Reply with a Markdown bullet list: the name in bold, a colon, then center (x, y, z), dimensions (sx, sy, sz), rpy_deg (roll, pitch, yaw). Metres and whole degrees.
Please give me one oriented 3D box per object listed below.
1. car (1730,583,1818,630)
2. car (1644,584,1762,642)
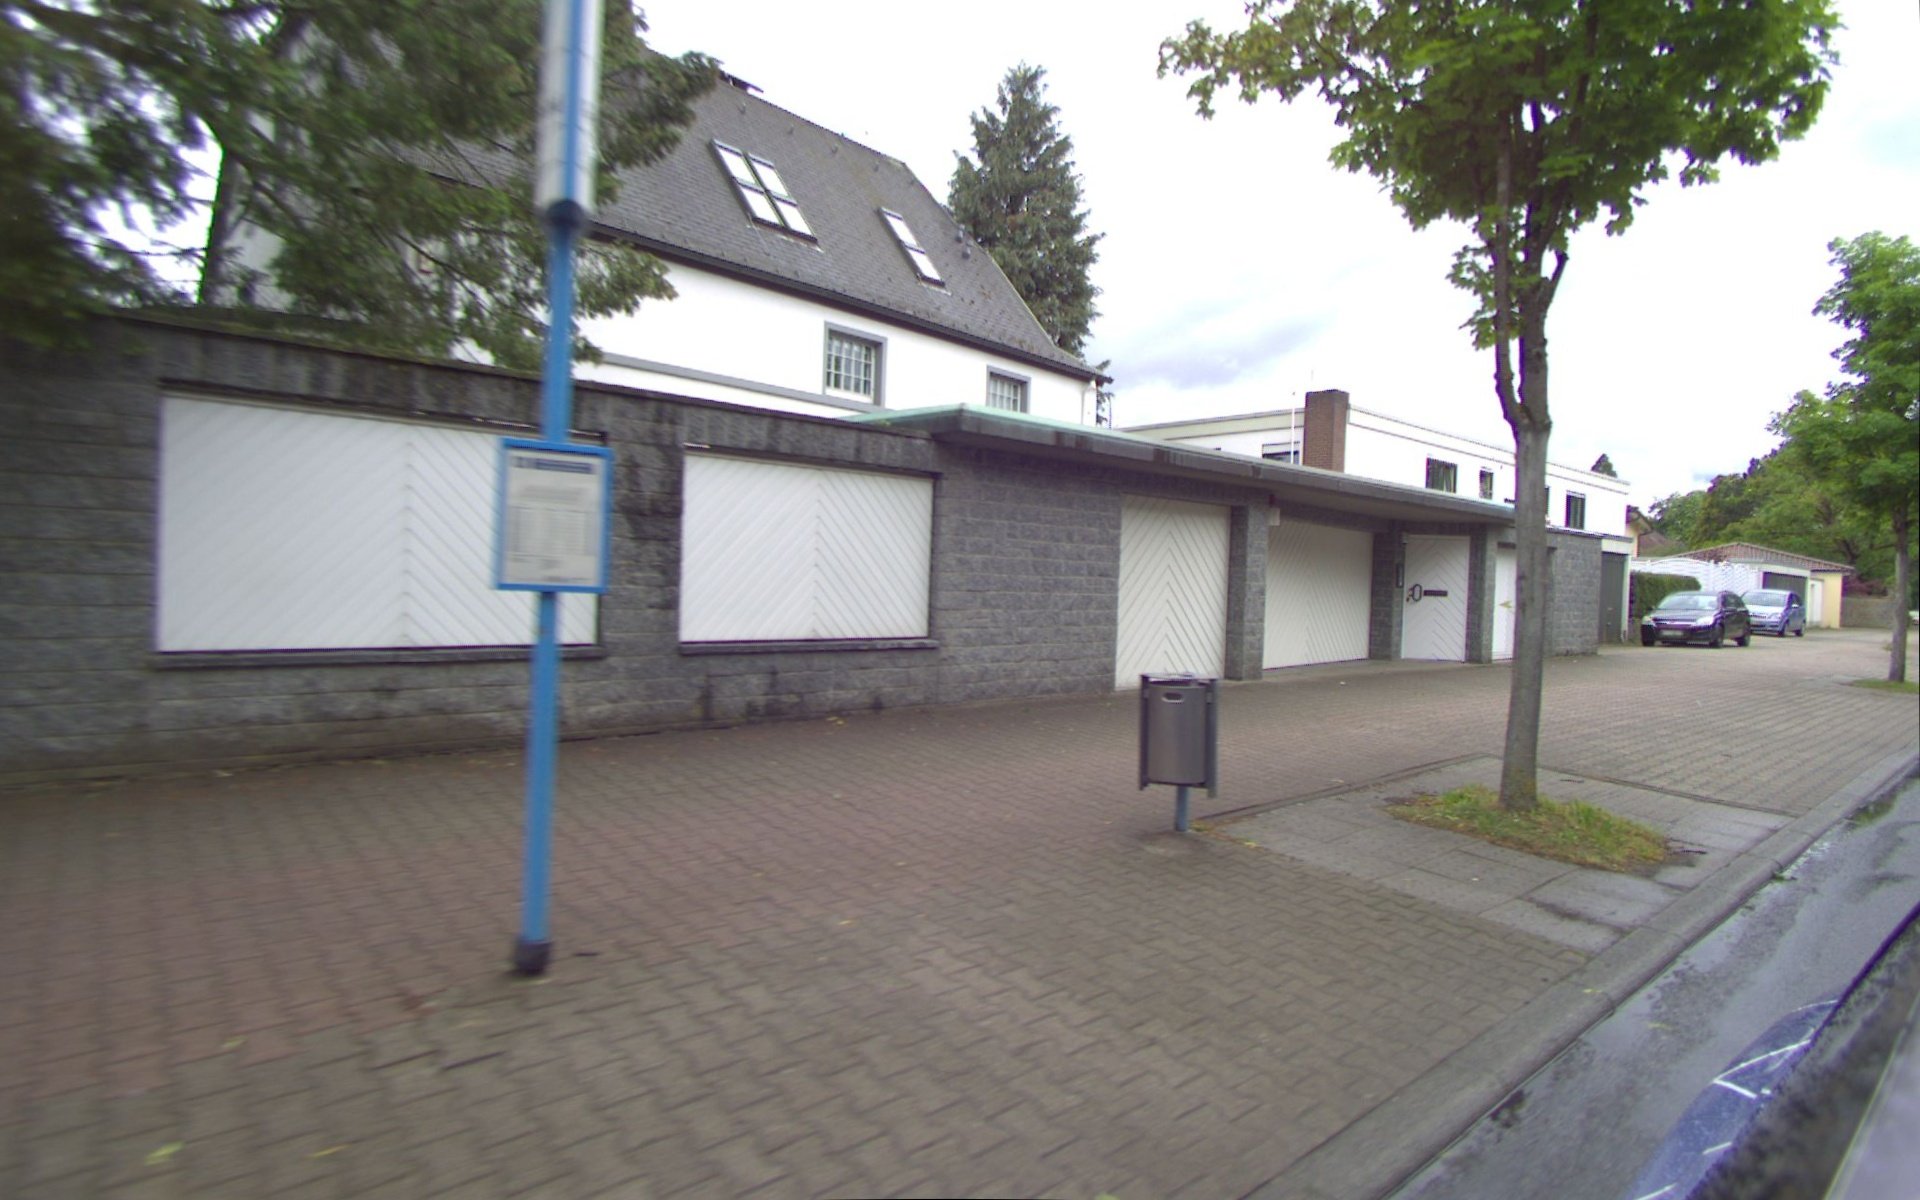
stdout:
- **car**: center (28.595, 0.190, 35.523), dimensions (3.929, 1.581, 1.699), rpy_deg (-1, 1, -40)
- **car**: center (19.657, 0.308, 26.725), dimensions (3.929, 1.440, 1.665), rpy_deg (0, 0, -40)
